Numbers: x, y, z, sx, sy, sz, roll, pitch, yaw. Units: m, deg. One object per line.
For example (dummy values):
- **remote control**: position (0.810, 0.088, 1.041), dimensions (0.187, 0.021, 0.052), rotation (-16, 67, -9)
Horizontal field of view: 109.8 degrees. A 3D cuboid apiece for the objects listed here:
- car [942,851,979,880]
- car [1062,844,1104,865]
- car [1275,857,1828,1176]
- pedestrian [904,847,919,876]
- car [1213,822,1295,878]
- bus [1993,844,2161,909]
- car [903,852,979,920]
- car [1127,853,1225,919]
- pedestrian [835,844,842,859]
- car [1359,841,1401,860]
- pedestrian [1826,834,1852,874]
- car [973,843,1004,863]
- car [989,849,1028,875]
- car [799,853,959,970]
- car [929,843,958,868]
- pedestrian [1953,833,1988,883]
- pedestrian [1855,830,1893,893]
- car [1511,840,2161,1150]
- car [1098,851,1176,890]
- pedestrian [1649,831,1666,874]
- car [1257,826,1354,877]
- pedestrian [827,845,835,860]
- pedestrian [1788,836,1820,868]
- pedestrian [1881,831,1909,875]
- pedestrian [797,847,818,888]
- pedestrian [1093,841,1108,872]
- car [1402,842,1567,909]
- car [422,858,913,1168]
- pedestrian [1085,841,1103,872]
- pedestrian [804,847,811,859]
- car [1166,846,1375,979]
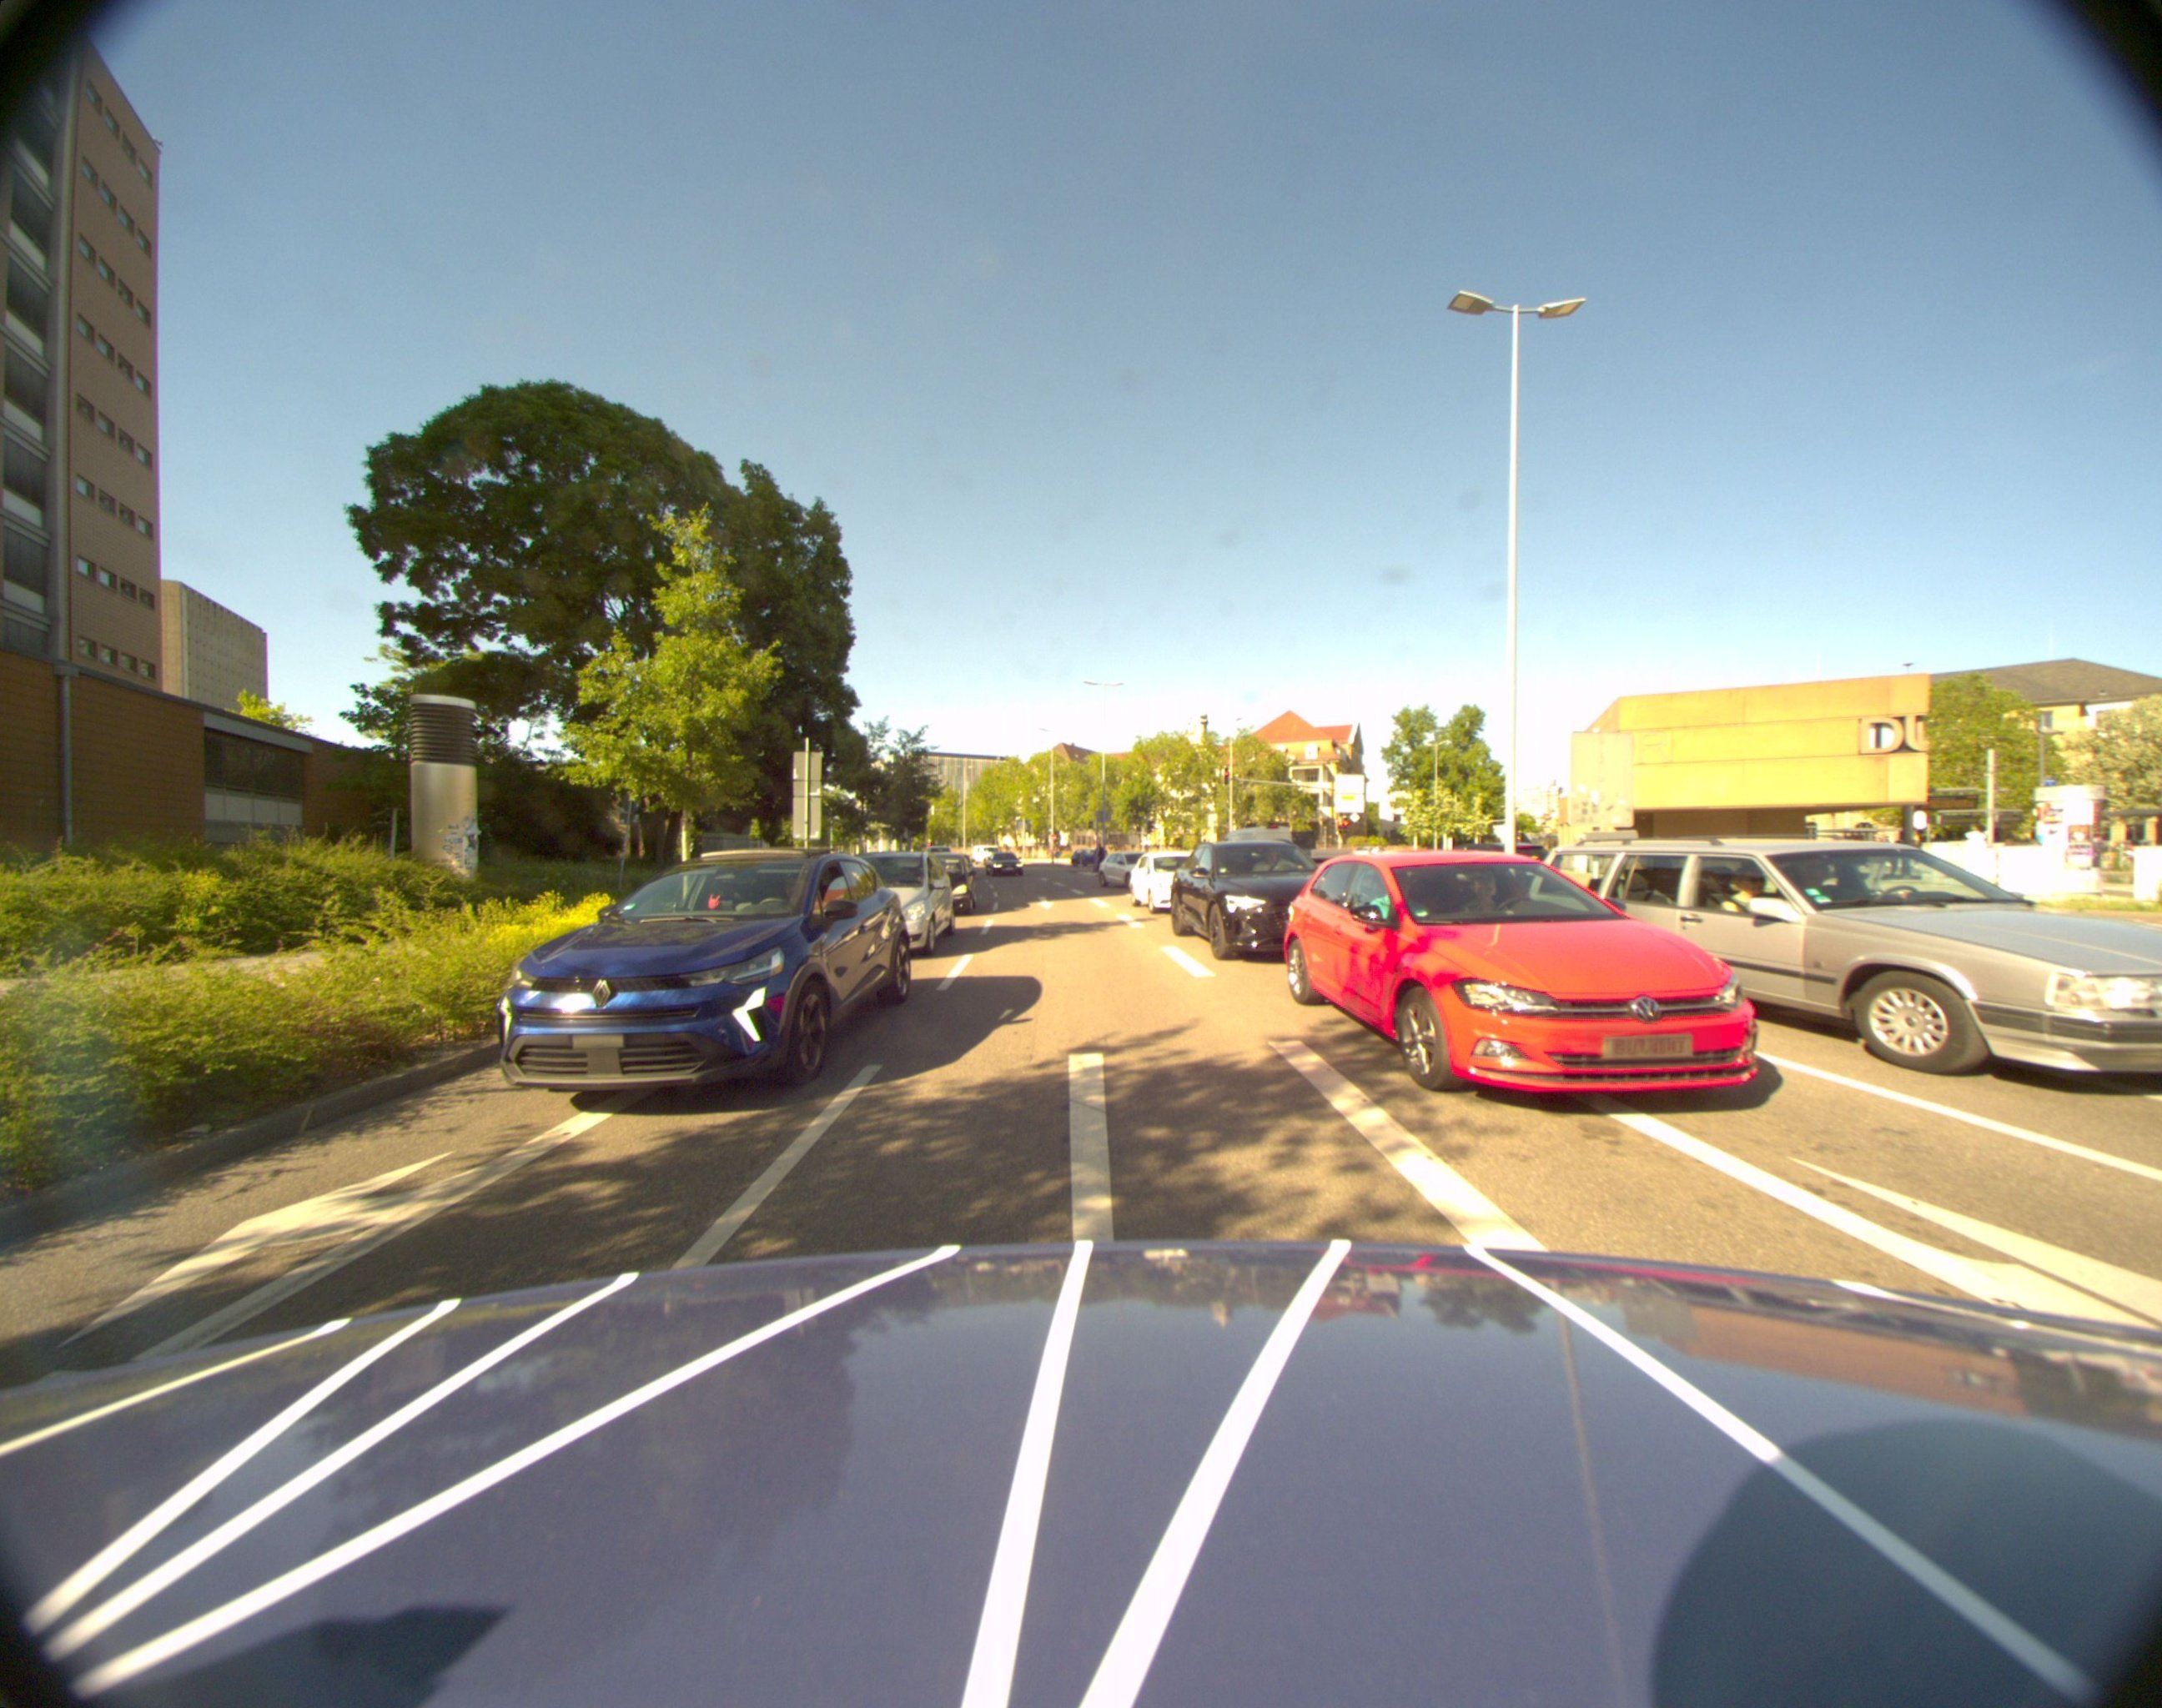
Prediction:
- **car**: position (-6.782, 0.630, 42.585), dimensions (1.753, 1.467, 3.569), rotation (-2, 1, -13)
- **car**: position (0.160, 0.040, 63.724), dimensions (3.064, 1.596, 1.599), rotation (-2, 1, 31)
- **car**: position (2.811, 0.806, 5.655), dimensions (1.674, 1.464, 3.852), rotation (-2, 1, -1)
- **pedestrian**: position (-9.600, 0.409, 43.018), dimensions (0.662, 1.595, 0.691), rotation (-1, 1, -23)
- **car**: position (8.296, -0.201, 37.041), dimensions (2.000, 2.493, 5.414), rotation (0, 1, -10)
- **bus**: position (21.622, 0.423, 15.151), dimensions (1.646, 1.234, 4.181), rotation (-1, 1, -5)
- **car**: position (-3.573, 0.754, 19.913), dimensions (1.651, 1.601, 3.487), rotation (0, 1, -6)
- **car**: position (2.254, 0.714, 18.923), dimensions (1.575, 1.410, 3.710), rotation (-2, 1, -6)
- **pedestrian**: position (-31.661, -0.276, 99.145), dimensions (0.822, 1.906, 0.770), rotation (-3, 2, -20)
- **car**: position (26.513, -0.338, 67.448), dimensions (3.385, 1.670, 1.522), rotation (0, 1, -24)
- **pedestrian**: position (33.183, -0.005, 33.262), dimensions (0.645, 1.766, 0.468), rotation (-1, 1, -4)
- **car**: position (-9.484, -0.136, 77.598), dimensions (1.790, 2.002, 4.223), rotation (-2, 1, -26)
- **car**: position (-4.503, 0.463, 46.654), dimensions (1.882, 1.472, 3.995), rotation (-2, 1, -12)
- **car**: position (-3.170, 0.803, 12.741), dimensions (1.786, 1.615, 4.041), rotation (0, 1, -3)
- **car**: position (-10.674, 0.124, 58.658), dimensions (1.829, 1.842, 3.746), rotation (-1, 1, -16)
- **pedestrian**: position (31.371, 0.139, 26.791), dimensions (0.644, 1.766, 0.469), rotation (0, 1, 20)
- **pedestrian**: position (22.790, 0.214, 21.840), dimensions (0.647, 1.778, 0.666), rotation (-3, 2, -37)
- **car**: position (5.772, 0.687, 6.126), dimensions (1.713, 1.464, 4.751), rotation (-3, 0, -2)
- **car**: position (2.146, 0.601, 30.012), dimensions (1.754, 1.370, 3.567), rotation (-1, 1, -20)
- **pedestrian**: position (23.956, -0.061, 31.576), dimensions (0.467, 1.766, 0.647), rotation (0, 1, 29)
- **car**: position (11.108, -0.143, 38.220), dimensions (2.117, 2.300, 6.208), rotation (-1, 1, -10)
- **pedestrian**: position (-32.525, -0.241, 98.868), dimensions (0.822, 1.906, 0.770), rotation (-3, 2, -20)
- **pedestrian**: position (30.003, -0.068, 31.531), dimensions (0.645, 1.303, 0.763), rotation (0, 1, 9)
- **pedestrian**: position (33.097, -0.054, 30.900), dimensions (0.645, 1.766, 0.468), rotation (-1, 1, -4)
- **pedestrian**: position (-10.766, 0.507, 29.928), dimensions (0.693, 1.595, 0.660), rotation (-1, 1, -14)
- **pedestrian**: position (1.139, 0.144, 44.512), dimensions (0.756, 1.815, 0.776), rotation (-2, 1, -6)
- **car**: position (10.829, 0.505, 20.782), dimensions (1.870, 1.649, 4.068), rotation (0, 1, -10)
- **car**: position (-2.678, 0.871, 6.141), dimensions (1.705, 1.596, 4.083), rotation (-1, 1, 0)
- **pedestrian**: position (0.773, 0.134, 45.847), dimensions (0.887, 1.815, 0.776), rotation (-2, 1, -8)
- **pedestrian**: position (-42.629, -0.196, 118.302), dimensions (0.823, 1.906, 0.770), rotation (-3, 2, -26)
- **car**: position (2.575, 0.690, 11.507), dimensions (1.859, 1.606, 4.451), rotation (-1, 1, -3)
